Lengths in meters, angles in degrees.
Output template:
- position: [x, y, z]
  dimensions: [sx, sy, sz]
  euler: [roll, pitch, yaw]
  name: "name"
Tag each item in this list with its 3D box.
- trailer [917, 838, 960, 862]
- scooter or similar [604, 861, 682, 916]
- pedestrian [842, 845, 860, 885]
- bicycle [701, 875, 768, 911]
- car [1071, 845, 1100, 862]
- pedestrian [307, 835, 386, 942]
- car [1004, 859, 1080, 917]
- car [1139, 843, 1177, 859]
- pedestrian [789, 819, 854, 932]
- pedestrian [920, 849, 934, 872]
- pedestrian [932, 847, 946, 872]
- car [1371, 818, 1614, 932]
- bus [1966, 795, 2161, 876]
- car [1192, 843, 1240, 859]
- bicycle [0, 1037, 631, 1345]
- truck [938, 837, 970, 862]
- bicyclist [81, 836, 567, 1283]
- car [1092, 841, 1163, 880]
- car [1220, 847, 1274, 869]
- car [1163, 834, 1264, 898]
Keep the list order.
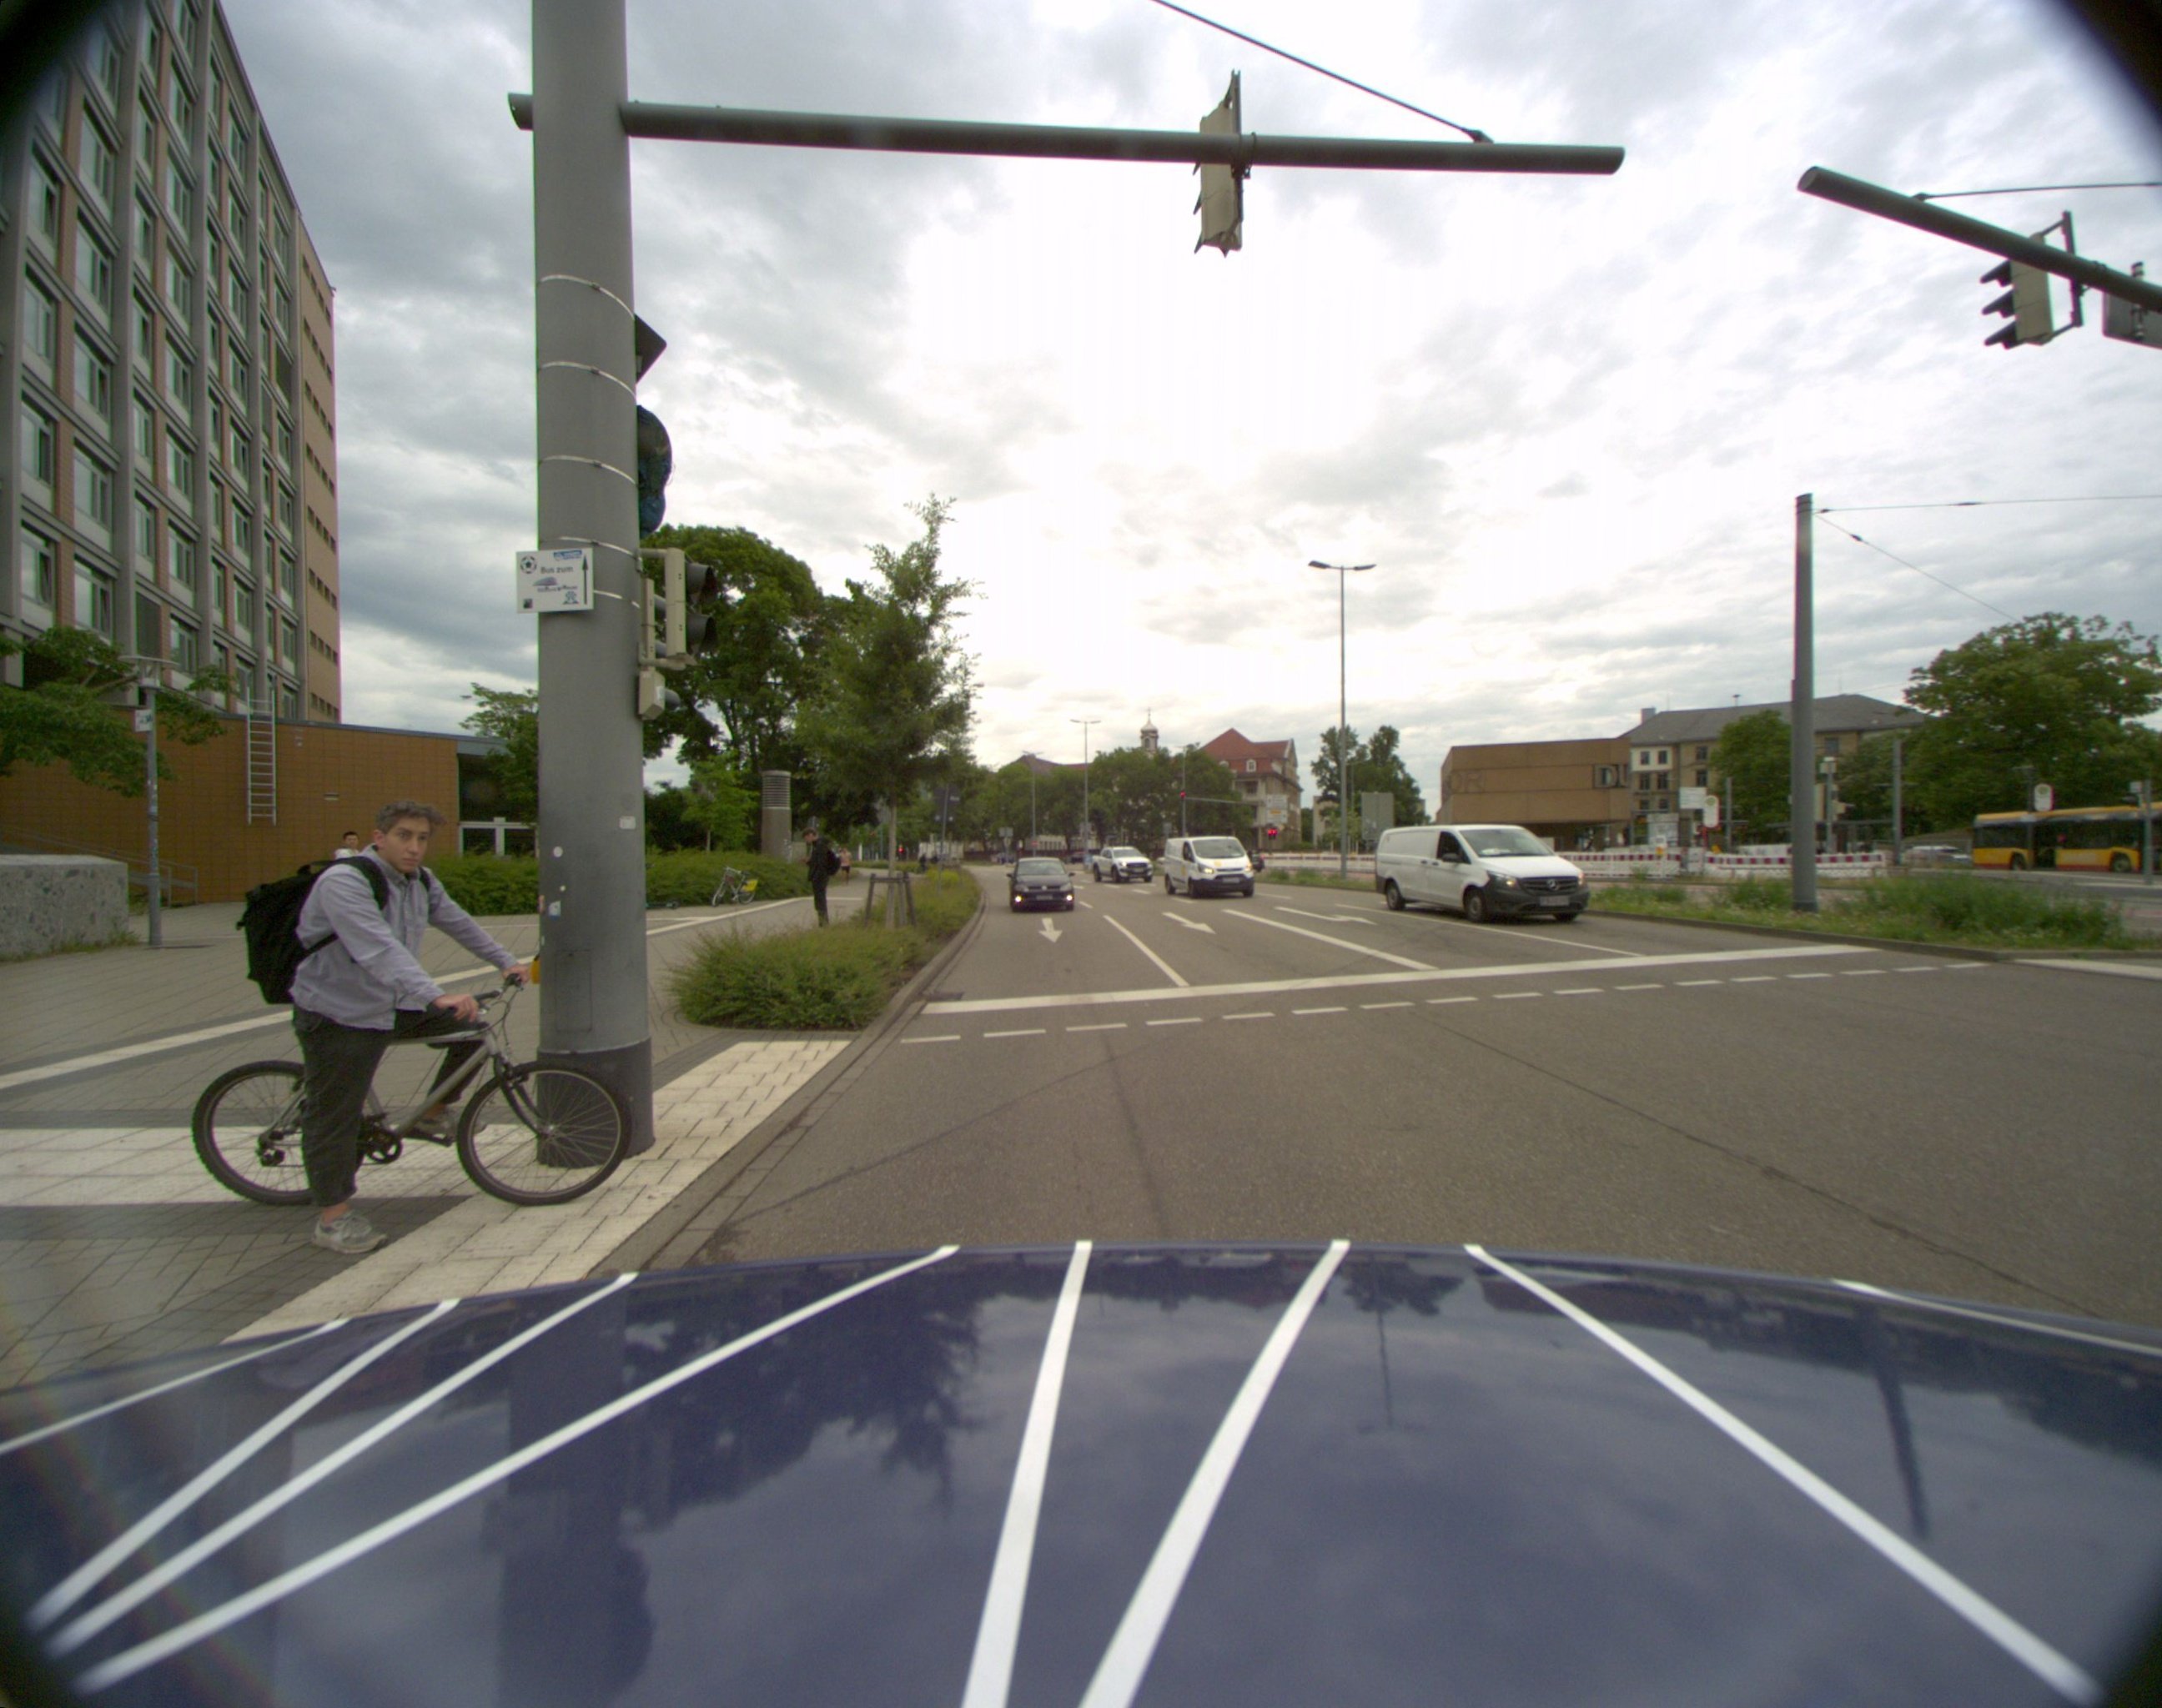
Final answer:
- position: [-25.238, -0.678, 134.188]
  dimensions: [2.952, 3.990, 13.778]
  euler: [-2, 1, -30]
  name: "trailer"
- position: [-11.123, 0.849, 19.318]
  dimensions: [1.607, 1.282, 0.693]
  euler: [-2, 1, -35]
  name: "scooter or similar"
- position: [-10.468, 0.511, 34.533]
  dimensions: [0.631, 1.790, 0.597]
  euler: [2, 0, -8]
  name: "pedestrian"
- position: [-9.473, 1.048, 20.865]
  dimensions: [0.557, 0.843, 2.075]
  euler: [0, 0, 11]
  name: "bicycle"
- position: [0.522, -0.067, 92.160]
  dimensions: [2.002, 2.002, 3.979]
  euler: [-2, 1, -22]
  name: "car"
- position: [-12.797, 0.568, 13.259]
  dimensions: [0.704, 1.795, 0.837]
  euler: [-1, 1, -23]
  name: "pedestrian"
- position: [-1.192, 0.875, 21.400]
  dimensions: [1.657, 1.404, 3.996]
  euler: [-1, 0, -10]
  name: "car"
- position: [8.992, -0.345, 89.297]
  dimensions: [4.000, 1.718, 1.998]
  euler: [-2, 1, -11]
  name: "car"
- position: [-4.570, 0.363, 13.399]
  dimensions: [0.876, 1.917, 0.722]
  euler: [-1, 1, -37]
  name: "pedestrian"
- position: [-11.927, 0.495, 58.872]
  dimensions: [0.596, 1.790, 0.723]
  euler: [3, 0, 39]
  name: "pedestrian"
- position: [-10.255, 0.420, 54.927]
  dimensions: [0.596, 1.790, 0.723]
  euler: [3, 0, 39]
  name: "pedestrian"
- position: [7.993, 0.331, 15.492]
  dimensions: [1.923, 1.871, 5.086]
  euler: [-2, 1, -4]
  name: "car"
- position: [44.494, -0.861, 33.246]
  dimensions: [2.858, 3.059, 12.039]
  euler: [-1, 1, 25]
  name: "bus"
- position: [15.169, -0.326, 85.004]
  dimensions: [5.251, 1.707, 1.908]
  euler: [-1, 1, -29]
  name: "car"
- position: [-2.961, 1.251, 3.040]
  dimensions: [1.826, 0.835, 0.767]
  euler: [1, 0, -8]
  name: "bicycle"
- position: [-21.290, -0.760, 127.376]
  dimensions: [2.918, 4.001, 7.144]
  euler: [-2, 1, -30]
  name: "truck"
- position: [-2.867, 0.696, 3.026]
  dimensions: [1.101, 1.512, 0.759]
  euler: [-1, 1, -8]
  name: "bicyclist"
- position: [2.282, 0.313, 38.830]
  dimensions: [2.092, 1.838, 4.744]
  euler: [-1, 0, -17]
  name: "car"
- position: [11.196, 0.252, 51.521]
  dimensions: [2.001, 1.390, 3.994]
  euler: [-1, 0, -15]
  name: "car"
- position: [4.248, 0.349, 25.162]
  dimensions: [2.000, 1.930, 4.520]
  euler: [-1, 0, -8]
  name: "car"
